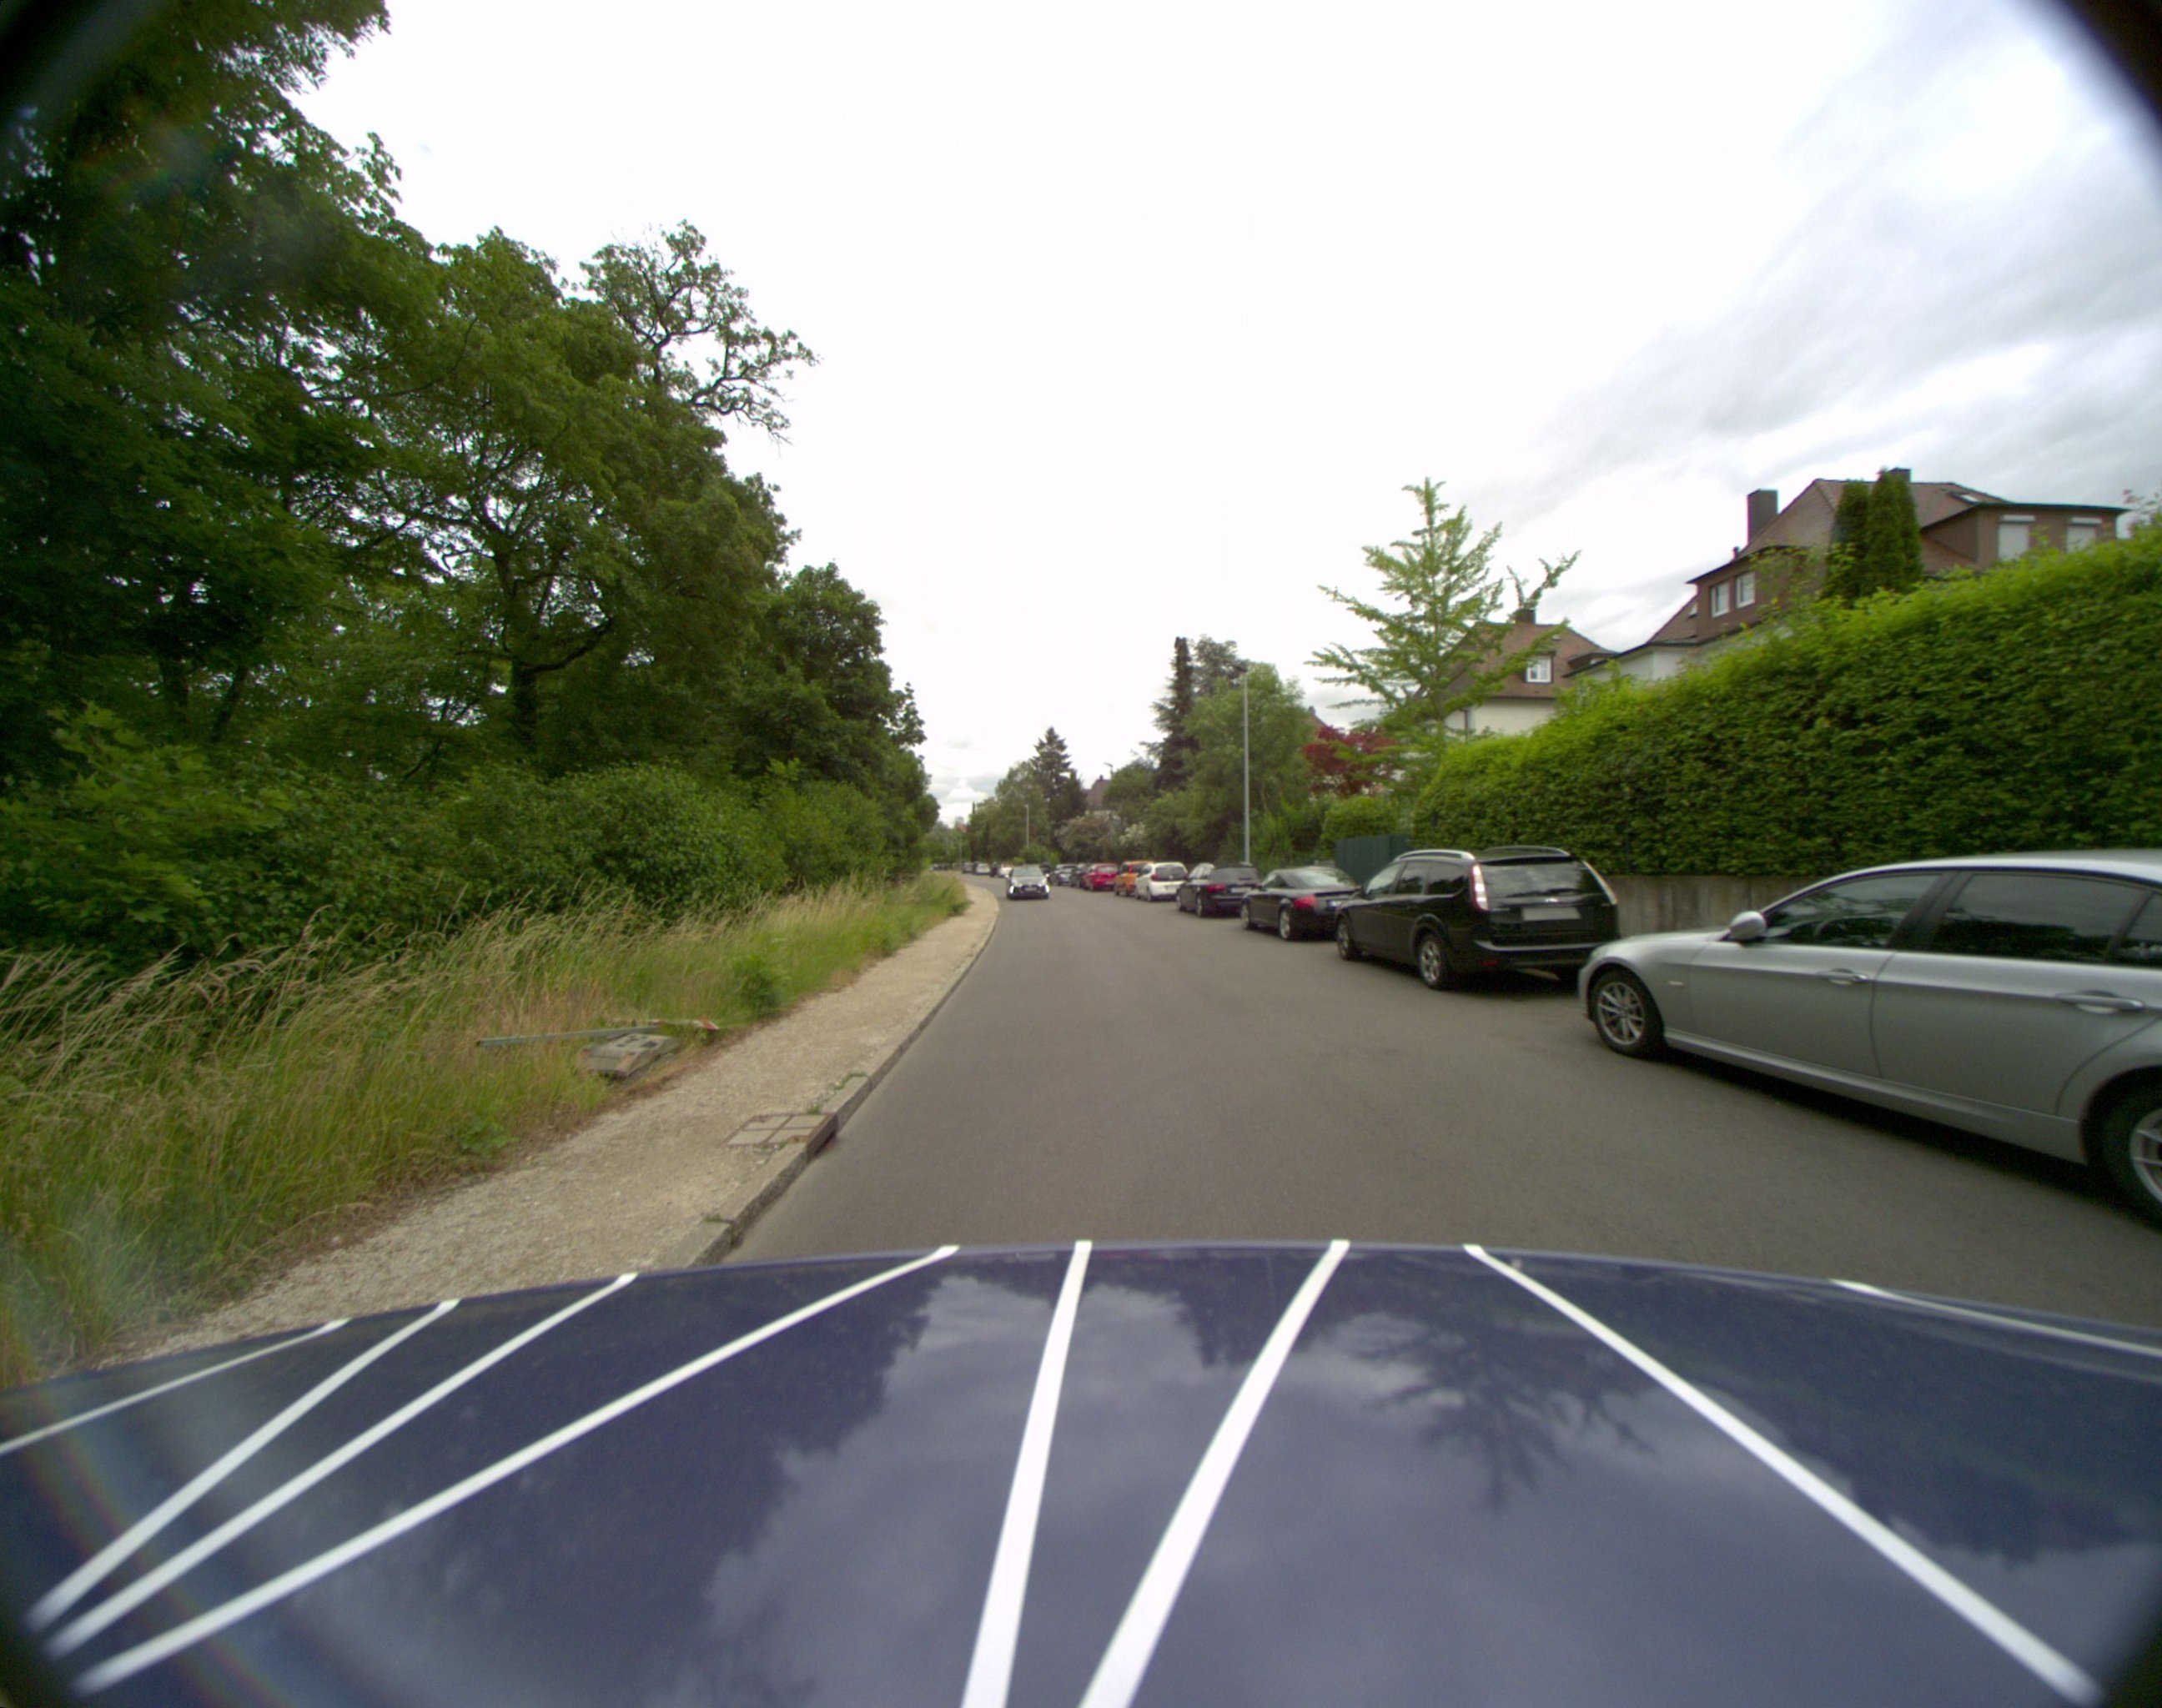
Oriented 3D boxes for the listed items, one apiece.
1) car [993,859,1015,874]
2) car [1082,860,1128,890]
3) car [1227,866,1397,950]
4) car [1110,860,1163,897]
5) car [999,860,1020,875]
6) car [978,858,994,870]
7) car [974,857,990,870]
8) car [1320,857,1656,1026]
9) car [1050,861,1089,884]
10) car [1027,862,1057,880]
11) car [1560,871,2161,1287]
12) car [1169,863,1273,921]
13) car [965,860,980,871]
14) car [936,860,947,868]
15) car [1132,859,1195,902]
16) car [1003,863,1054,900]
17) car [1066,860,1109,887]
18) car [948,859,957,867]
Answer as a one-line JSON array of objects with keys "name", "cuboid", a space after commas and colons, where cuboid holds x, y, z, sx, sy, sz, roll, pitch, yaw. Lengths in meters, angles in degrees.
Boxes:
[{"name": "car", "cuboid": [-8.821, 1.390, 86.517, 1.798, 1.654, 4.386, -1, 0, -14]}, {"name": "car", "cuboid": [1.229, 1.111, 41.452, 1.712, 1.505, 4.360, -1, 0, -9]}, {"name": "car", "cuboid": [4.334, 0.944, 14.963, 1.716, 1.333, 4.105, -2, 0, -6]}, {"name": "car", "cuboid": [2.395, 1.039, 33.772, 1.548, 1.505, 3.641, -1, 0, -9]}, {"name": "car", "cuboid": [-7.727, 1.453, 82.146, 1.713, 1.502, 3.941, -1, 0, -14]}, {"name": "car", "cuboid": [-12.651, 1.351, 101.474, 1.713, 1.502, 4.550, -1, 0, -12]}, {"name": "car", "cuboid": [-14.013, 1.383, 107.406, 1.713, 1.789, 4.293, -1, 0, -13]}, {"name": "car", "cuboid": [4.528, 0.824, 9.366, 1.661, 1.524, 4.474, -2, 0, -1]}, {"name": "car", "cuboid": [-0.808, 1.224, 51.139, 1.713, 1.402, 4.155, -1, 0, -14]}, {"name": "car", "cuboid": [-3.290, 1.411, 63.454, 1.713, 1.408, 4.127, -1, 0, -14]}, {"name": "car", "cuboid": [4.679, 0.838, 3.691, 1.780, 1.366, 4.339, -2, 0, -3]}, {"name": "car", "cuboid": [3.747, 0.965, 21.157, 1.723, 1.376, 4.661, -1, 0, -4]}, {"name": "car", "cuboid": [-17.171, 1.777, 119.816, 1.802, 1.597, 4.725, -1, 0, -14]}, {"name": "car", "cuboid": [-33.073, 2.331, 179.722, 1.925, 1.670, 4.189, -1, 0, -18]}, {"name": "car", "cuboid": [3.105, 0.967, 29.086, 1.593, 1.505, 3.588, -1, 0, -7]}, {"name": "car", "cuboid": [-2.412, 1.168, 34.022, 1.713, 1.466, 4.191, -1, 0, -11]}, {"name": "car", "cuboid": [0.362, 1.116, 46.025, 1.713, 1.505, 4.491, -1, 0, -11]}, {"name": "car", "cuboid": [-28.737, 1.988, 169.859, 1.924, 1.670, 4.190, -1, 0, -13]}]
